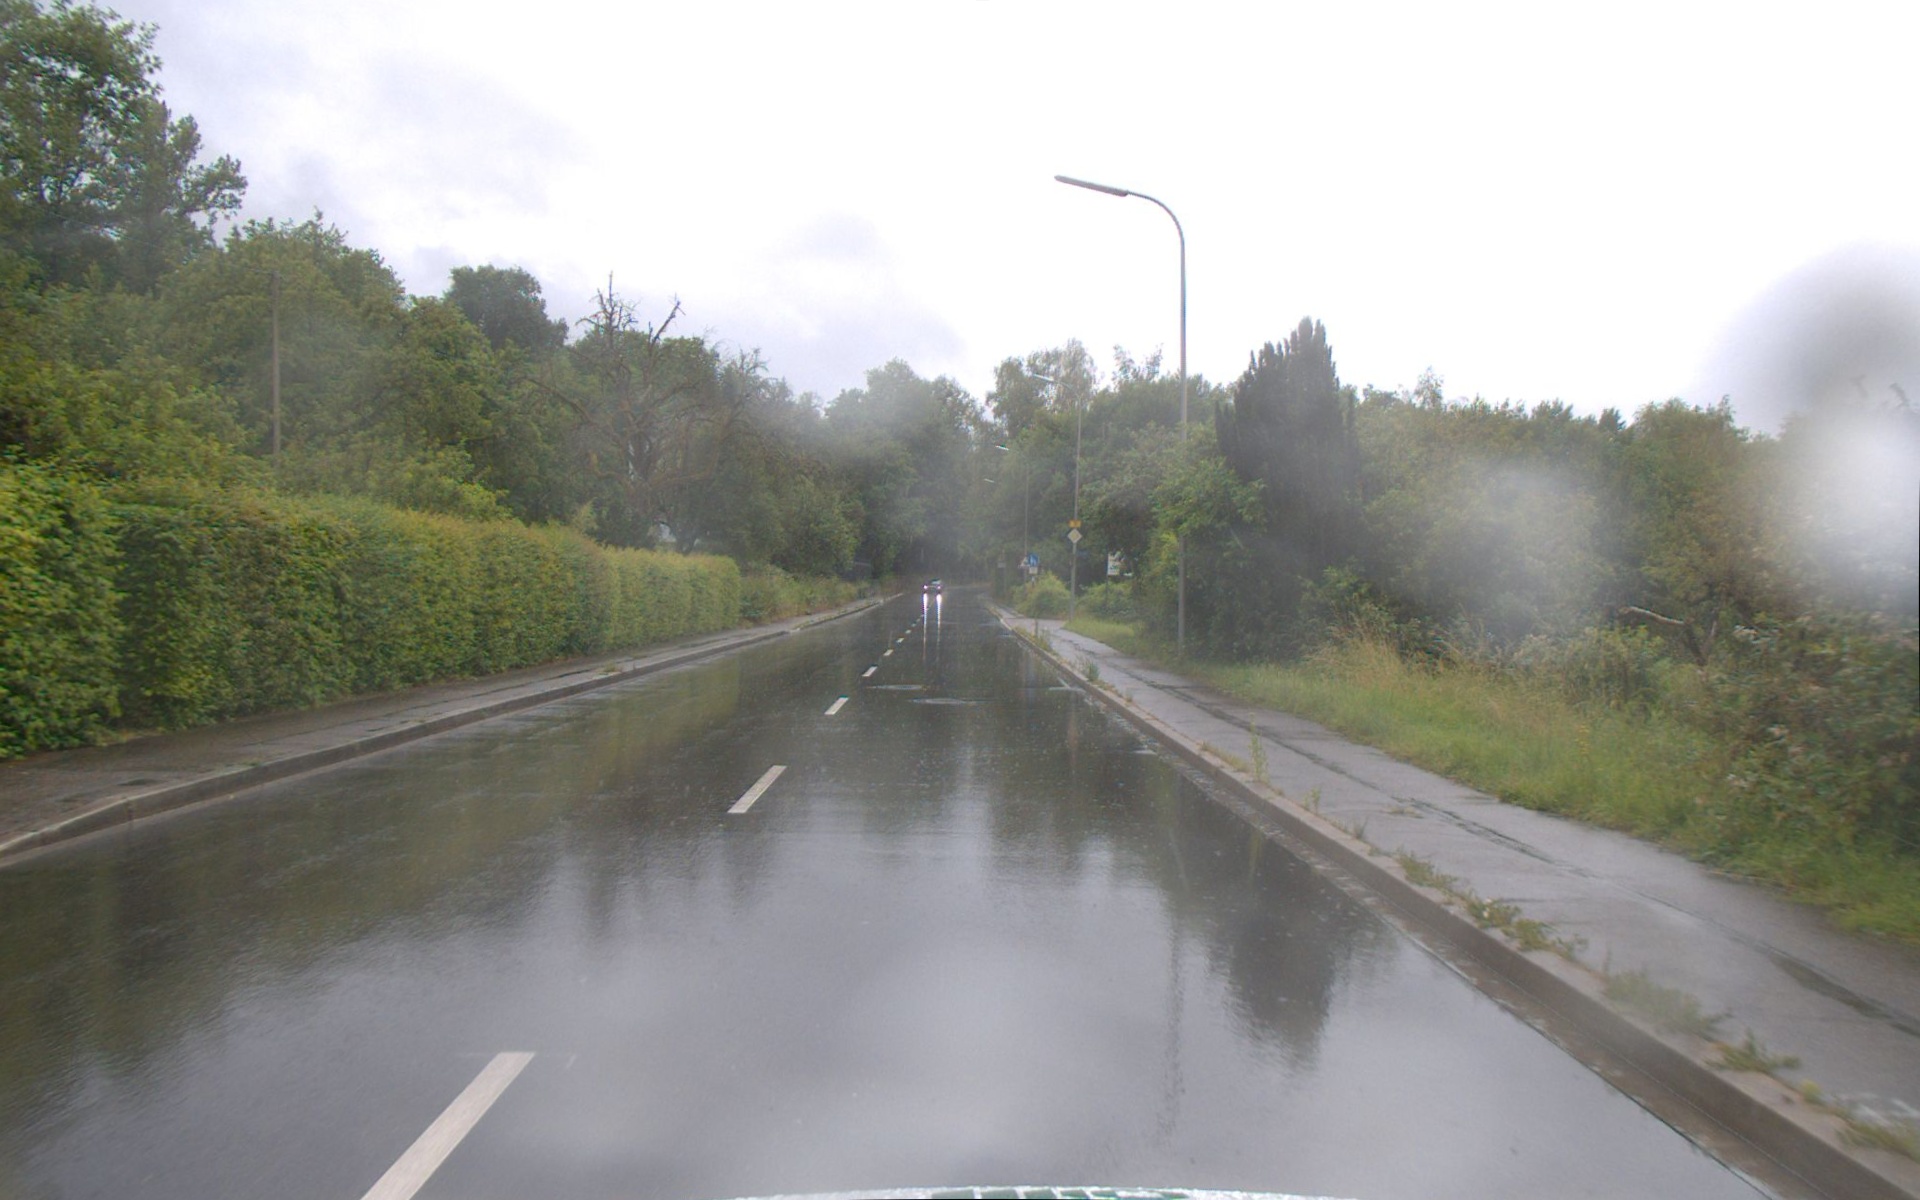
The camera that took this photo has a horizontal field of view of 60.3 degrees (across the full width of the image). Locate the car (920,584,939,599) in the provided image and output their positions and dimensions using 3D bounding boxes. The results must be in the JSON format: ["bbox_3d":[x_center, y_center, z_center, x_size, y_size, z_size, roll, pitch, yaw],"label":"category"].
[{"bbox_3d":[-3.145,-0.908,171.321,1.953,1.479,4.428,1,1,0],"label":"car"}]
